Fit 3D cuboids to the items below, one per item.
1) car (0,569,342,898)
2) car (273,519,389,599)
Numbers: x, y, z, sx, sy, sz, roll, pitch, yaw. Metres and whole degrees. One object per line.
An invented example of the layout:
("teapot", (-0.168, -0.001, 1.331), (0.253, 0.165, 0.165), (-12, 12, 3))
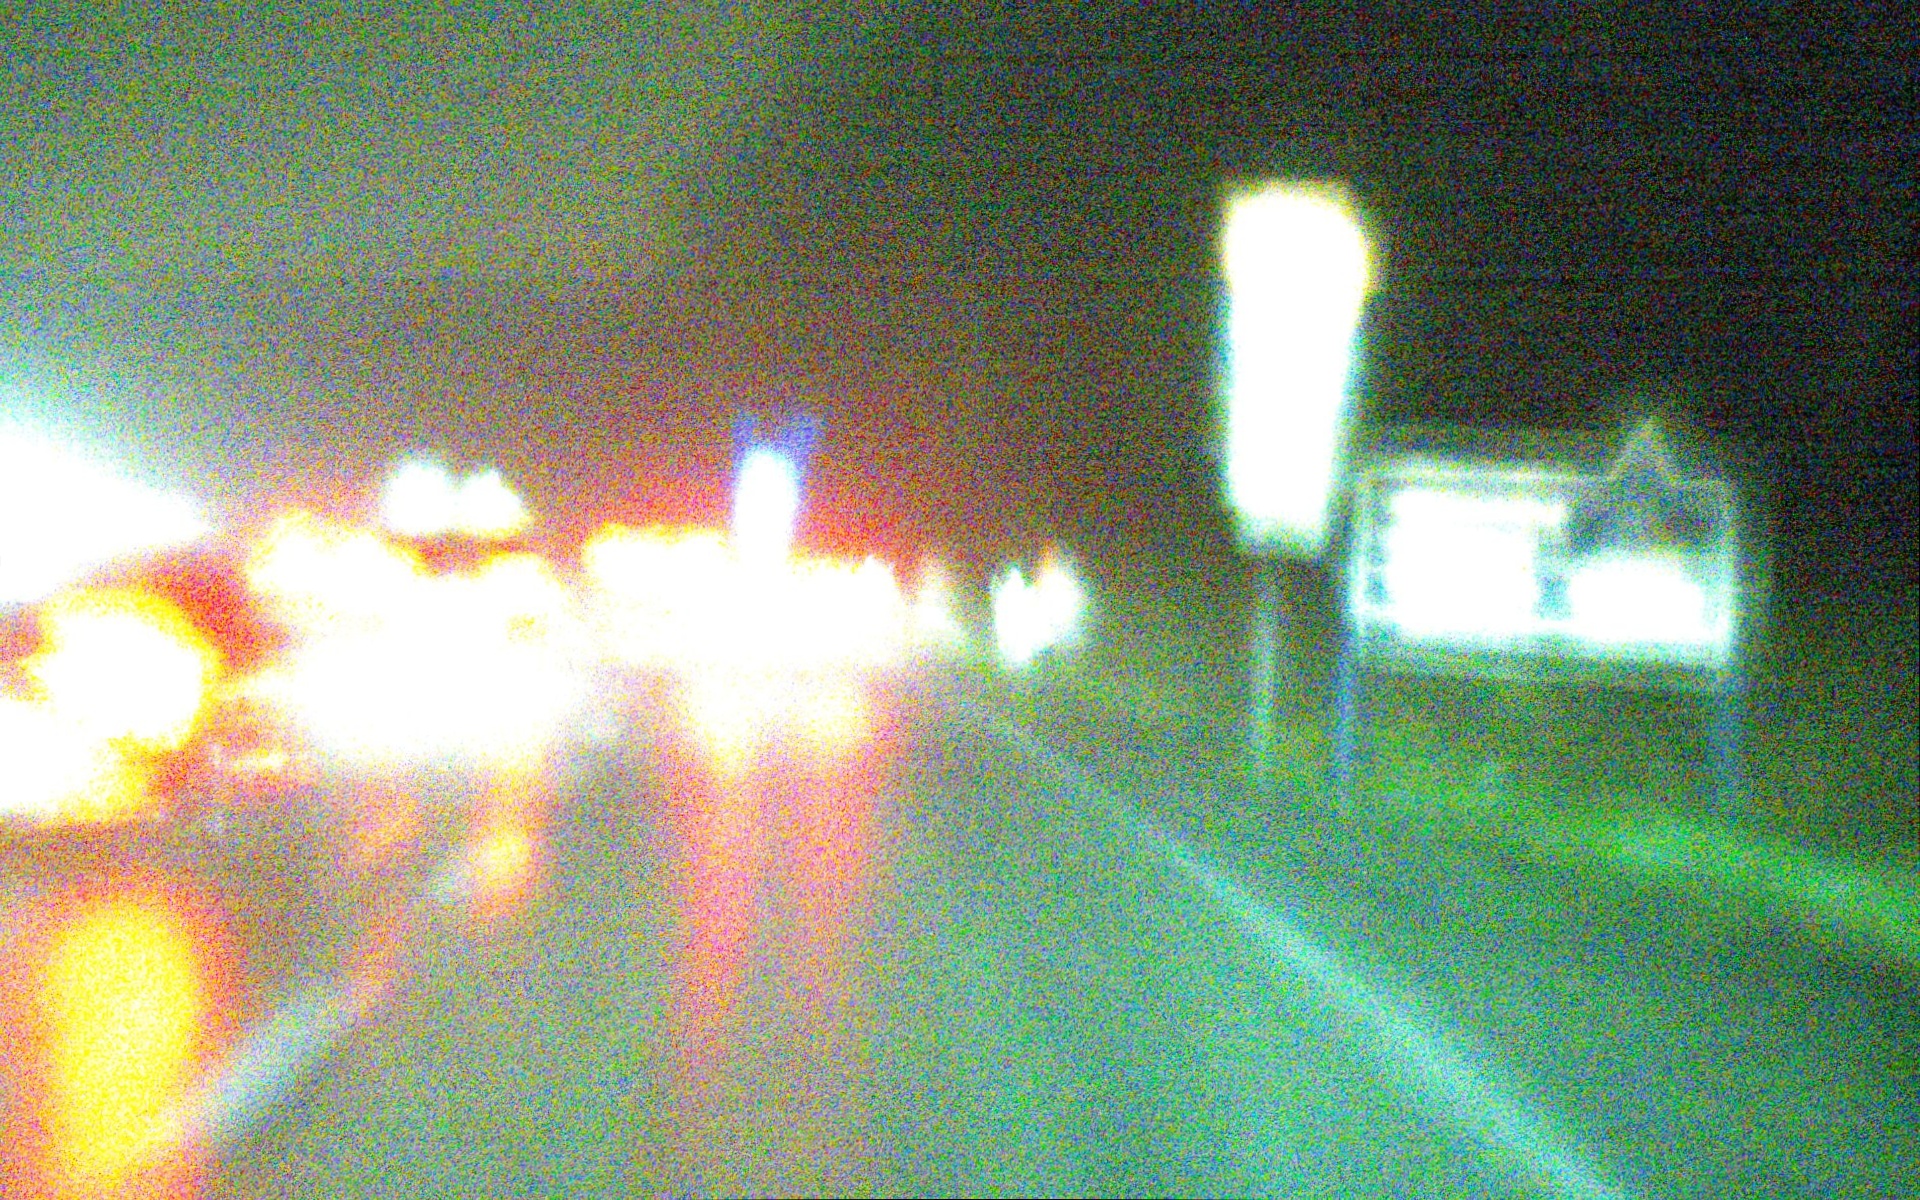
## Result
("car", (-4.443, 0.565, 17.077), (1.962, 1.376, 4.049), (3, 0, 0))
("car", (-12.969, -0.836, 71.069), (1.892, 1.545, 4.001), (2, 0, -4))
